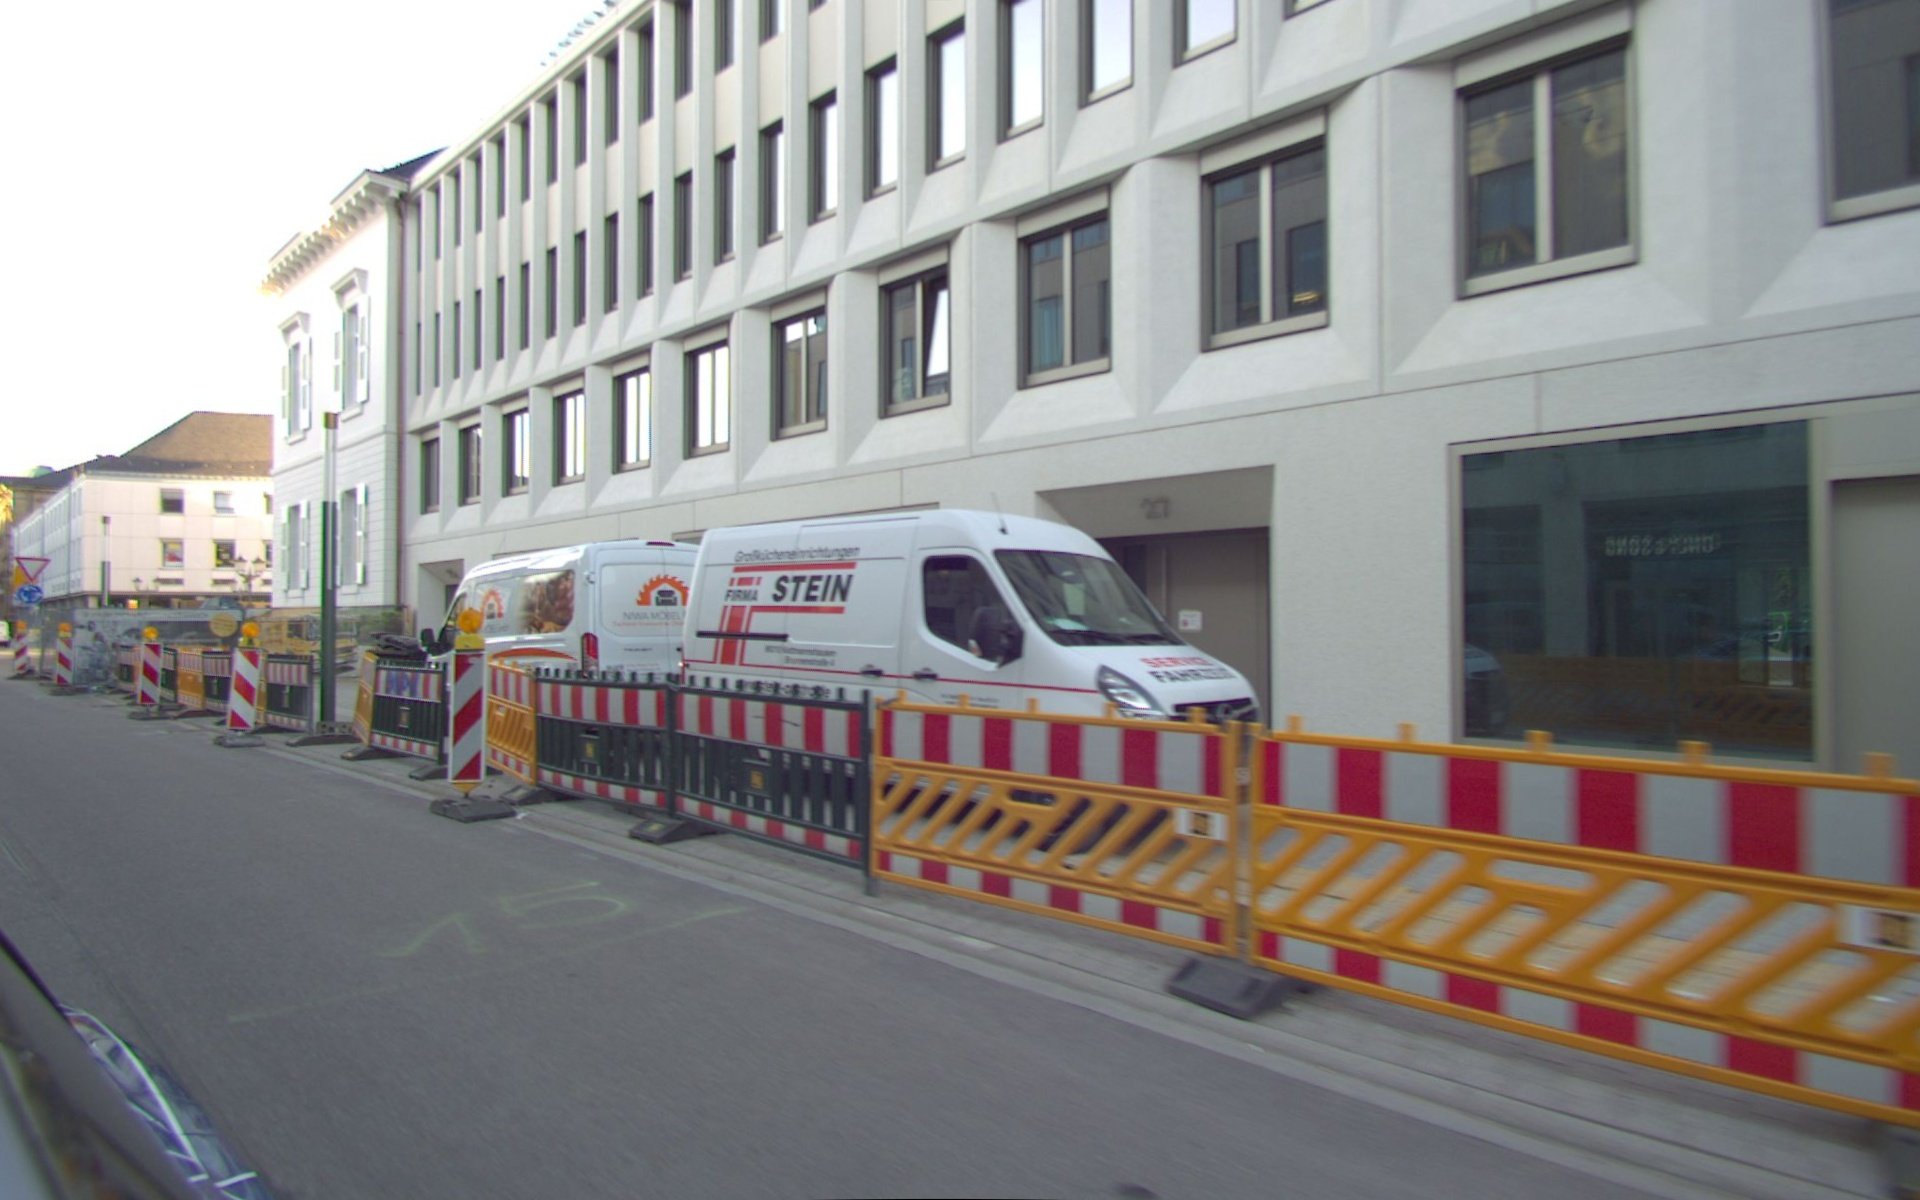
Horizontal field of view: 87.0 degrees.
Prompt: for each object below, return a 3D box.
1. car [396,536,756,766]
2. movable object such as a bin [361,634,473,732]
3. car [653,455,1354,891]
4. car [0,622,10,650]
[{"bbox_3d":[-5.449,0.612,13.773,5.999,2.489,2.150,-1,-2,43],"label":"car"},{"bbox_3d":[-8.721,1.299,16.266,1.389,1.477,1.036,-1,-1,31],"label":"movable object such as a bin"},{"bbox_3d":[-0.062,0.476,8.619,5.998,2.489,2.150,-1,-2,43],"label":"car"},{"bbox_3d":[-67.288,2.485,69.683,4.451,1.839,1.997,-1,-2,36],"label":"car"}]
